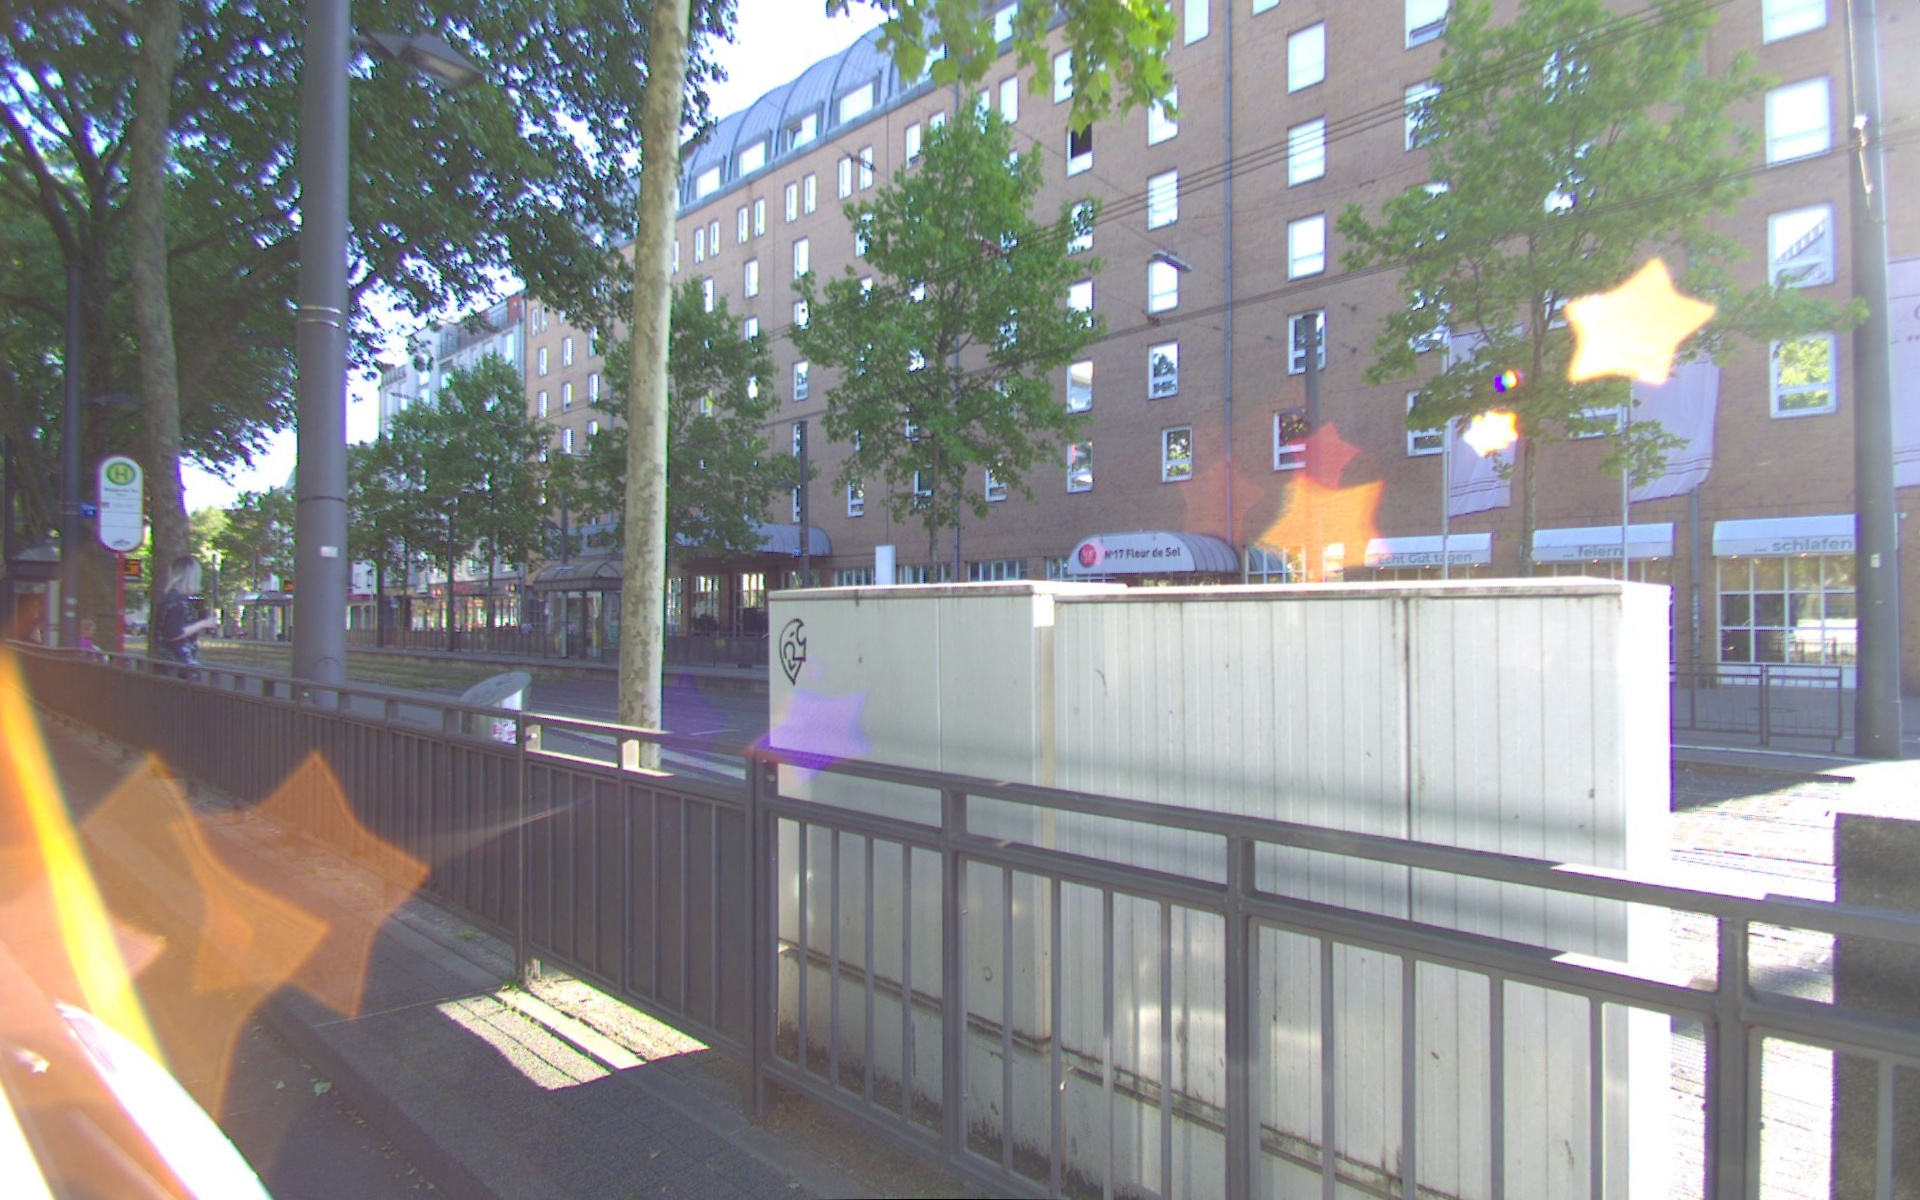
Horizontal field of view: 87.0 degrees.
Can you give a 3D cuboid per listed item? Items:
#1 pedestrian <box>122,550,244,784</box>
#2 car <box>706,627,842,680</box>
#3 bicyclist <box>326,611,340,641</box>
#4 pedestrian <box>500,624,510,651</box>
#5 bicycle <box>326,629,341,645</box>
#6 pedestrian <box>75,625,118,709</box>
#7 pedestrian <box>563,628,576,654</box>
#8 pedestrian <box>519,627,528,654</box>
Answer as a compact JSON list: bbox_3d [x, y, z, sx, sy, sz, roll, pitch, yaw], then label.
[{"bbox_3d":[-6.598,0.539,8.603,0.604,1.897,0.617,1,0,29],"label":"pedestrian"},{"bbox_3d":[-5.674,1.568,30.609,4.307,1.500,1.737,-1,-2,41],"label":"car"},{"bbox_3d":[-41.077,1.709,66.296,0.564,1.918,0.814,2,-2,-43],"label":"bicyclist"},{"bbox_3d":[-25.795,2.132,57.385,0.431,1.518,0.660,1,-2,-27],"label":"pedestrian"},{"bbox_3d":[-41.089,2.421,66.366,0.444,1.012,1.754,2,-2,-44],"label":"bicycle"},{"bbox_3d":[-13.953,1.065,16.355,0.493,1.325,0.419,1,-2,-41],"label":"pedestrian"},{"bbox_3d":[-22.521,2.364,58.393,0.516,1.447,0.512,-2,-2,44],"label":"pedestrian"},{"bbox_3d":[-24.973,2.293,57.917,0.431,1.532,0.660,1,-2,-27],"label":"pedestrian"}]
